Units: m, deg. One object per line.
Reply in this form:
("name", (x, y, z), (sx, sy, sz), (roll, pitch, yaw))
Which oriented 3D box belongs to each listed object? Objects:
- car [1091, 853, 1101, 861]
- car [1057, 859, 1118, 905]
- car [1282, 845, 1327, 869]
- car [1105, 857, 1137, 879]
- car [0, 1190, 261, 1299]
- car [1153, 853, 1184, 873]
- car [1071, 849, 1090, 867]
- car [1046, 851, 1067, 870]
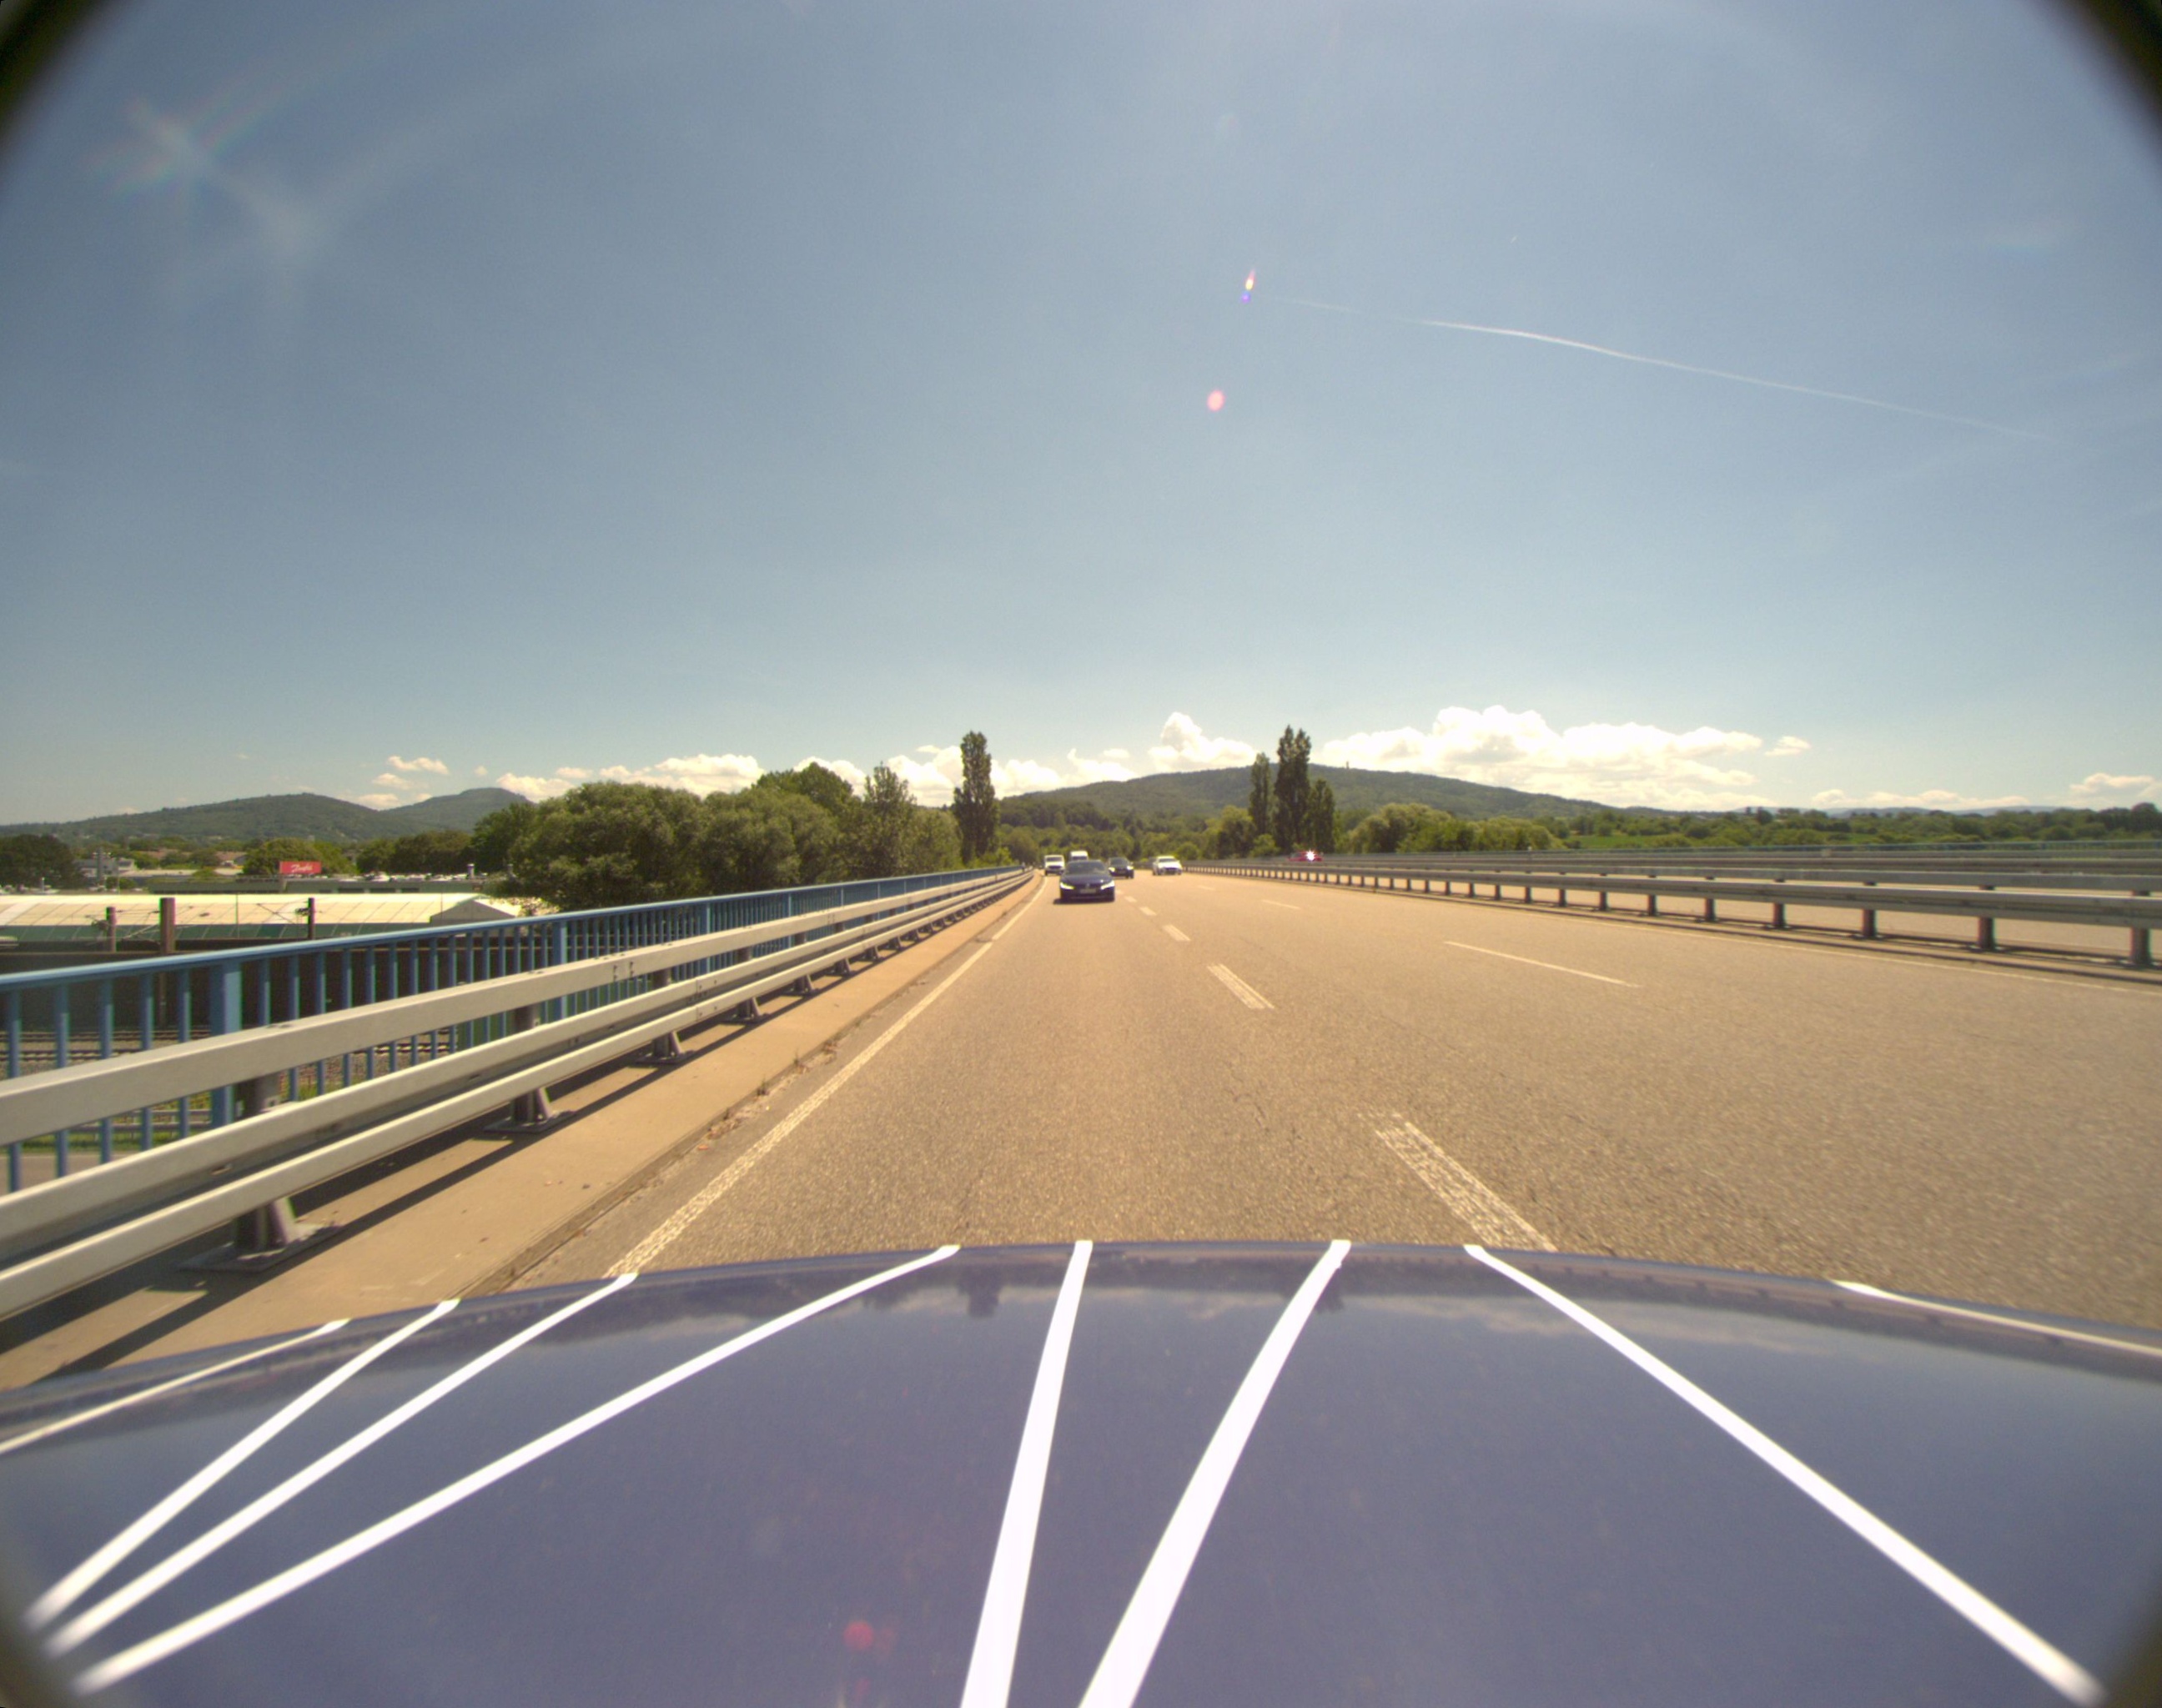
("car", (3.535, 0.789, 181.891), (1.858, 1.808, 4.791), (-1, 1, -6))
("car", (0.140, 0.911, 26.770), (1.846, 1.399, 4.468), (-2, 0, -3))
("car", (16.821, 0.184, 57.377), (1.848, 1.658, 5.049), (-1, 1, -1))
("car", (2.711, 0.931, 52.628), (1.846, 1.399, 4.469), (-2, 0, -1))
("car", (-23.889, 9.744, 19.099), (4.241, 1.608, 2.000), (-1, -2, -3))
("car", (6.860, 0.659, 59.948), (1.846, 1.400, 4.469), (-2, 1, 0))
("car", (-0.055, 0.463, 90.344), (2.009, 1.987, 4.577), (-2, 1, -3))
("car", (-2.410, 0.617, 74.286), (1.885, 1.724, 4.468), (-2, 1, -3))
